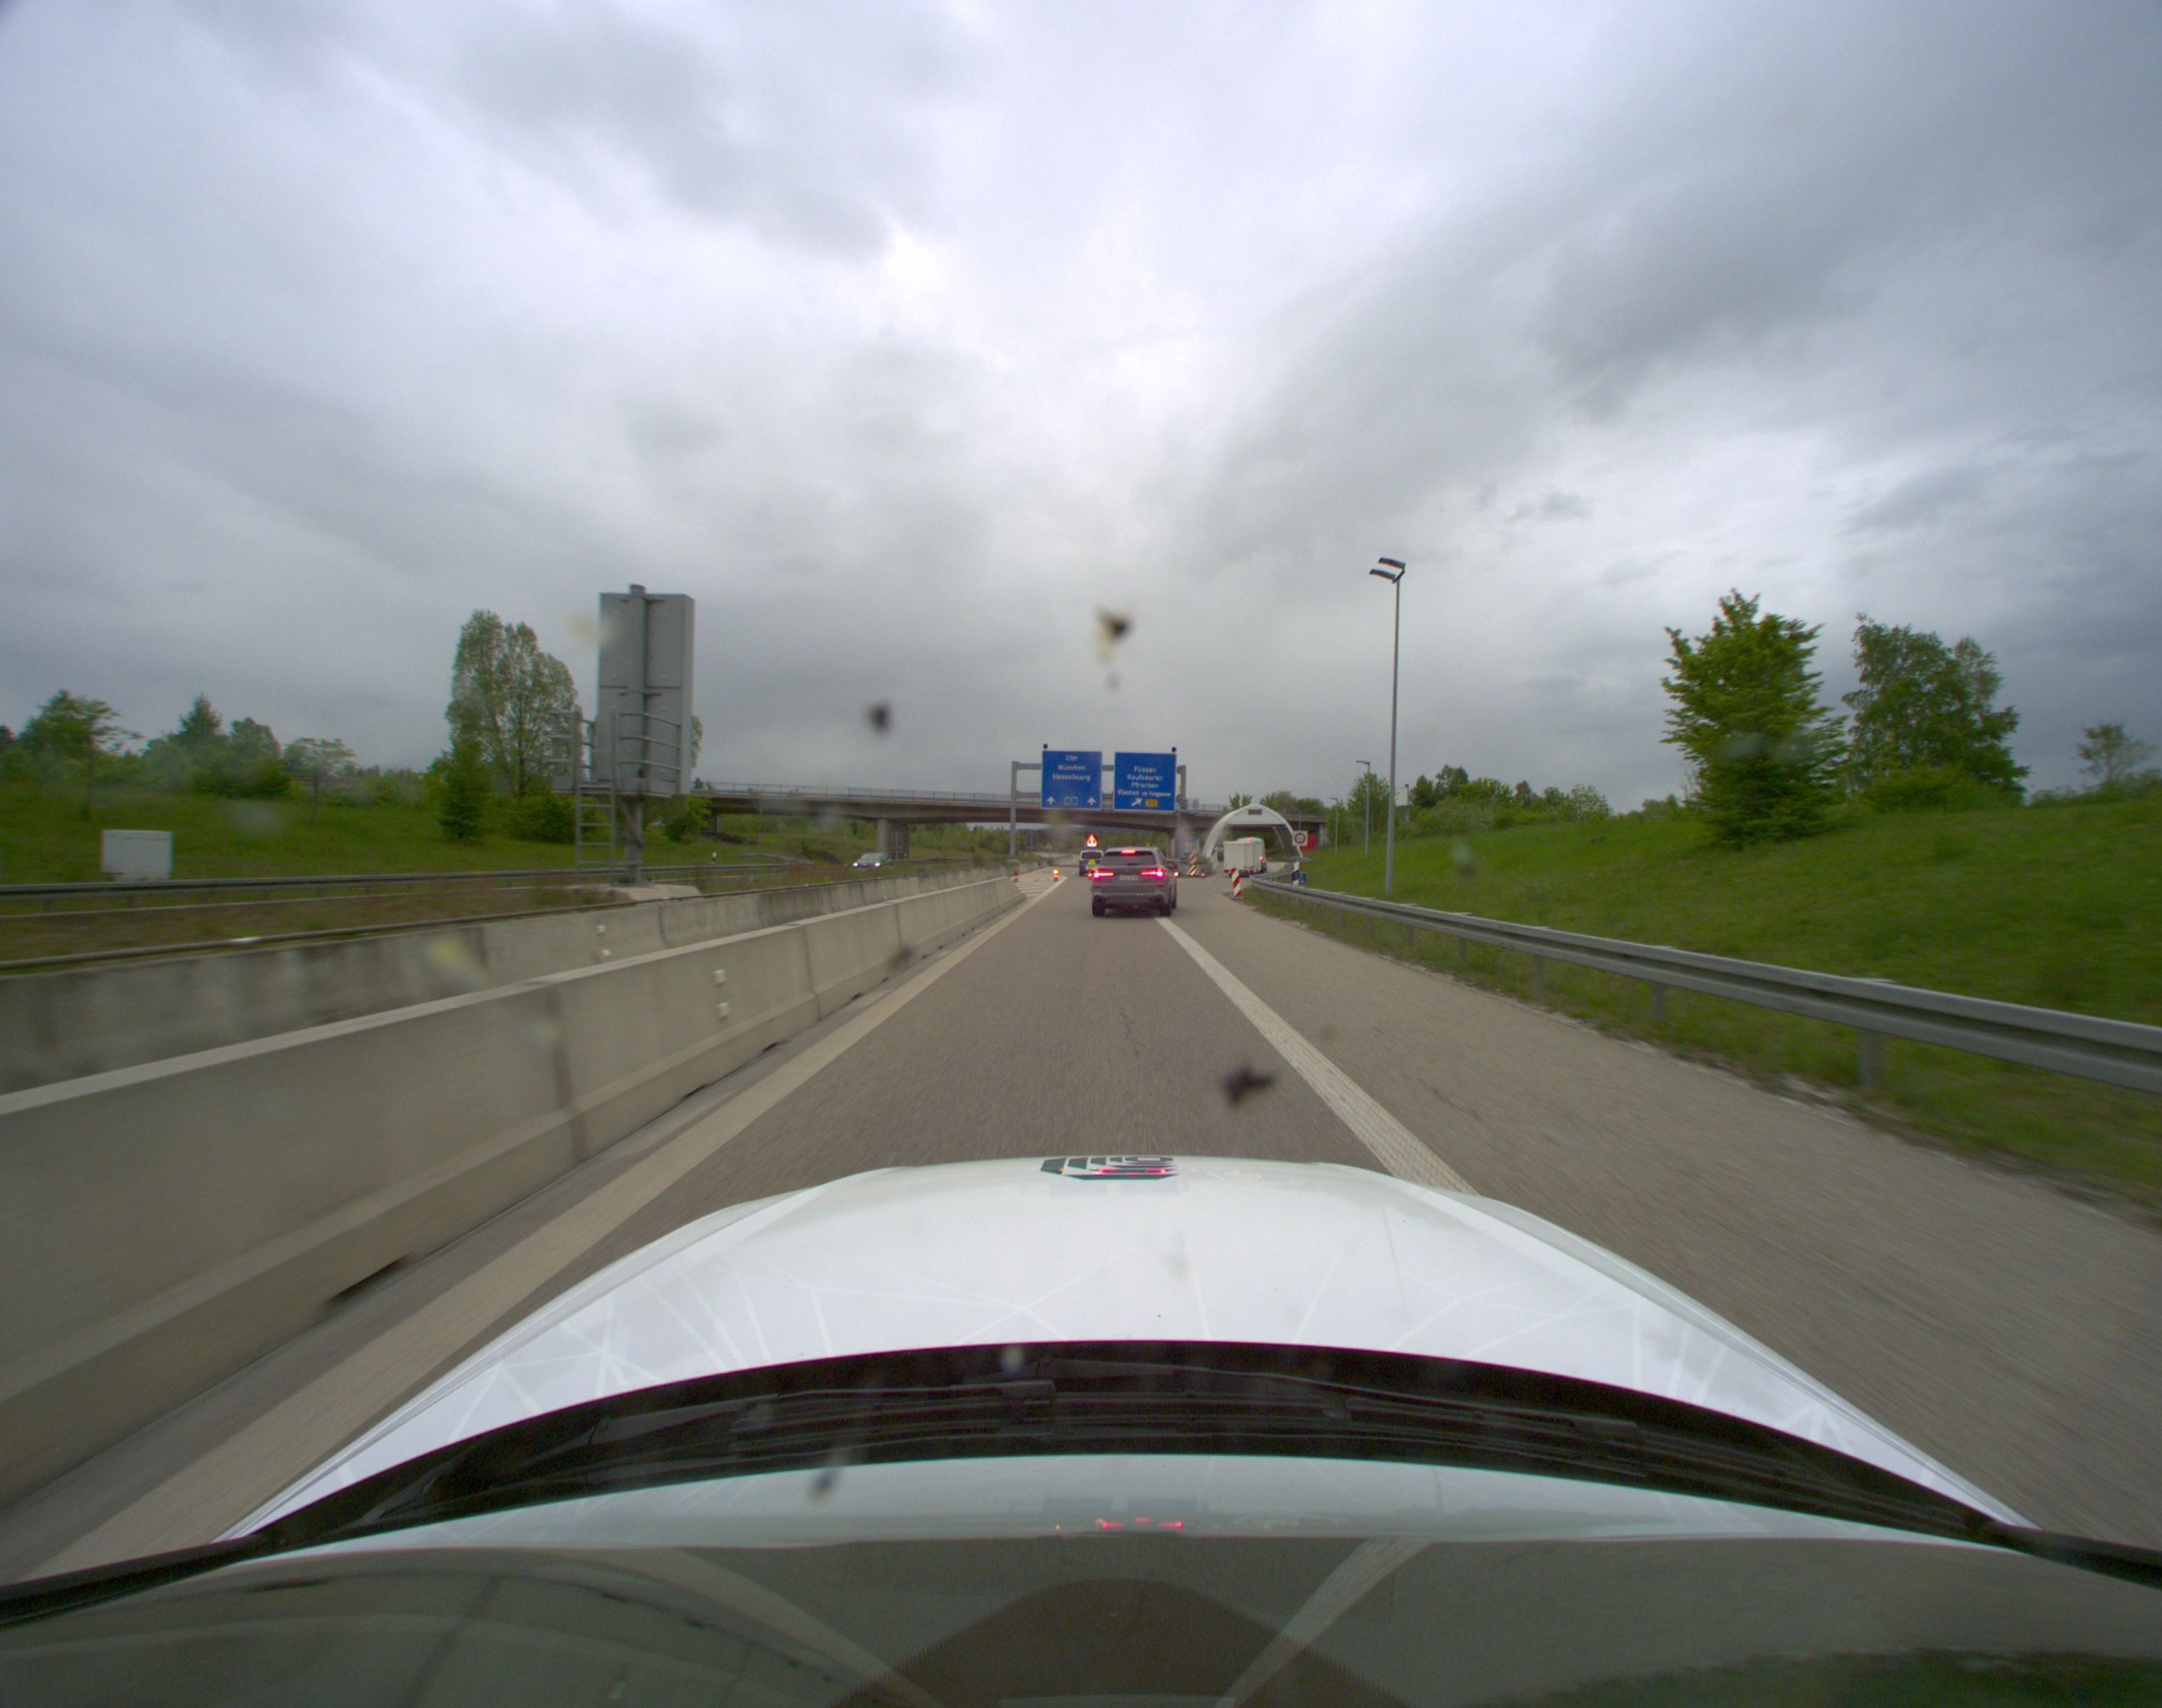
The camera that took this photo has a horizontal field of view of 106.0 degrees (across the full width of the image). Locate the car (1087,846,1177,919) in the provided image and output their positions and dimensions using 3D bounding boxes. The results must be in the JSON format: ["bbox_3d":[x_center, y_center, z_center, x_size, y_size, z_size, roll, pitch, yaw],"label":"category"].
[{"bbox_3d":[1.448,0.676,21.399,1.982,1.719,4.010,-1,0,9],"label":"car"}]

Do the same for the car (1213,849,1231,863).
[{"bbox_3d":[18.294,0.240,105.460,1.984,1.772,3.771,-1,0,5],"label":"car"}]

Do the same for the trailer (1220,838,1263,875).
[{"bbox_3d":[11.477,0.210,57.762,2.261,2.430,6.848,-1,-1,17],"label":"trailer"}]

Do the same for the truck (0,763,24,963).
[{"bbox_3d":[-14.593,0.104,7.291,2.349,2.479,5.988,0,0,1],"label":"truck"}]

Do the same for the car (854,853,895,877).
[{"bbox_3d":[-13.221,0.668,52.389,1.602,1.500,3.838,0,0,1],"label":"car"}]

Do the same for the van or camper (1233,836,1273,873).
[{"bbox_3d":[13.554,0.056,63.876,2.138,2.763,5.902,-1,-1,22],"label":"van or camper"}]

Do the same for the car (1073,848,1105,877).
[{"bbox_3d":[0.565,0.551,60.054,2.279,2.013,5.049,0,1,0],"label":"car"}]
